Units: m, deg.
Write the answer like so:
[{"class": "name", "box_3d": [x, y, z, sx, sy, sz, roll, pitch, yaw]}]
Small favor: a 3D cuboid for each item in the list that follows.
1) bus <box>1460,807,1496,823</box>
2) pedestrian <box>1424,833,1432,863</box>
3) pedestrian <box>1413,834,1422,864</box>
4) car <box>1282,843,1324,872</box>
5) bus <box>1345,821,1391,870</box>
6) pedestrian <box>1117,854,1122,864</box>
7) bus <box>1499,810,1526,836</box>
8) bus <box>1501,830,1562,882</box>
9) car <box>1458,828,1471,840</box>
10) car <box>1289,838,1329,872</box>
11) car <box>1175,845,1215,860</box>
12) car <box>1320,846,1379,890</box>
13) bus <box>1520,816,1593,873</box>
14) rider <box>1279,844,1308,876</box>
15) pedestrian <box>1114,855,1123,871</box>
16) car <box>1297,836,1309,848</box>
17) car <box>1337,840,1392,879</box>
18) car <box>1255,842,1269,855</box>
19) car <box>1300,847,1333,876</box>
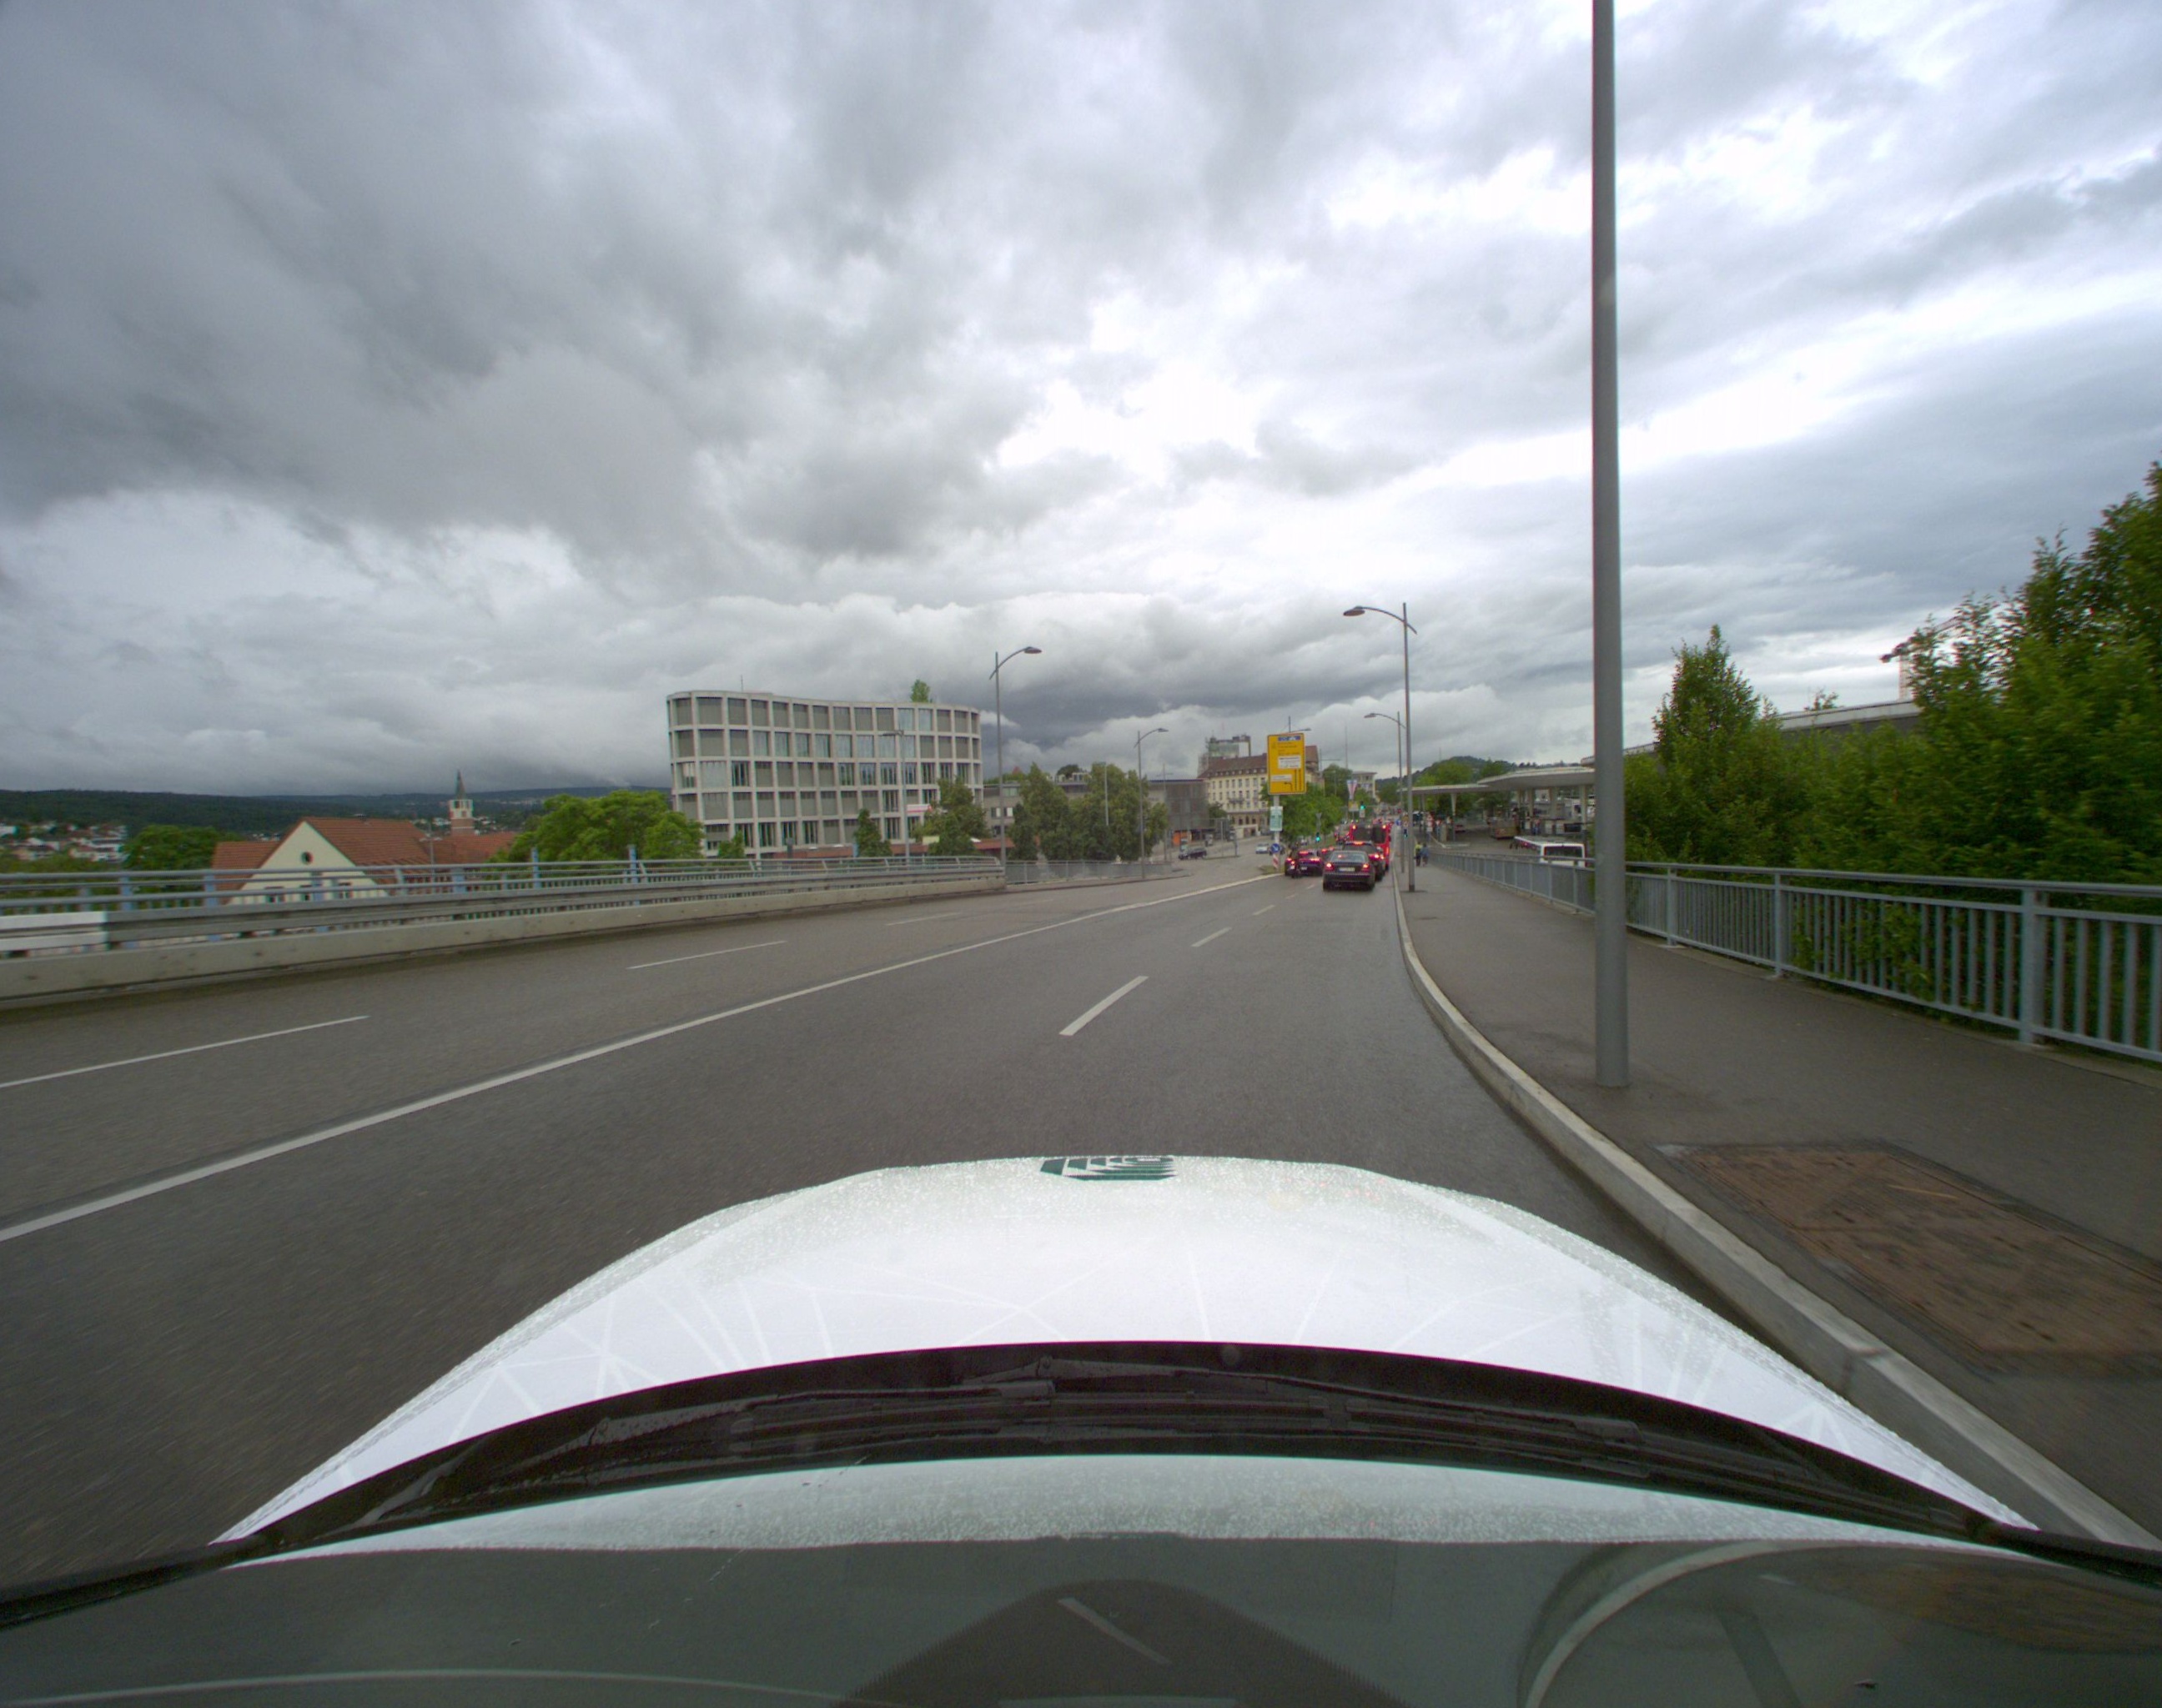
[{"class": "bus", "box_3d": [94.363, -9.281, 193.728, 7.141, 3.396, 3.096, -2, 2, 17]}, {"class": "pedestrian", "box_3d": [23.682, -0.398, 55.587, 0.420, 2.014, 0.486, -2, -2, 23]}, {"class": "pedestrian", "box_3d": [23.051, -0.343, 55.813, 0.485, 2.014, 0.472, -2, -2, 23]}, {"class": "car", "box_3d": [11.899, 0.137, 43.535, 1.745, 1.436, 4.021, 0, 1, 21]}, {"class": "bus", "box_3d": [20.535, -0.642, 57.967, 2.803, 3.189, 10.362, 0, 1, 21]}, {"class": "pedestrian", "box_3d": [3.609, 0.480, 76.383, 0.298, 0.873, 0.300, -2, 2, 24]}, {"class": "bus", "box_3d": [63.846, -4.470, 120.624, 3.149, 3.600, 10.572, -1, 1, 26]}, {"class": "bus", "box_3d": [33.483, 0.066, 60.739, 2.625, 3.235, 7.107, -2, 4, 18]}, {"class": "car", "box_3d": [68.799, -3.638, 146.174, 1.975, 2.013, 4.024, -1, 1, 27]}, {"class": "car", "box_3d": [14.347, 0.022, 51.059, 1.976, 2.006, 4.022, 0, 1, 22]}, {"class": "car", "box_3d": [17.046, -0.286, 121.463, 5.637, 2.013, 1.984, -3, 1, -24]}, {"class": "car", "box_3d": [9.744, 0.451, 29.430, 1.691, 1.419, 3.746, 1, 1, 23]}, {"class": "bus", "box_3d": [31.267, -0.759, 53.829, 2.625, 3.235, 7.107, 1, 5, 18]}, {"class": "rider", "box_3d": [10.420, 0.280, 39.883, 0.873, 1.471, 2.209, 1, 1, 27]}, {"class": "pedestrian", "box_3d": [3.504, 0.846, 76.402, 0.642, 1.408, 0.534, -2, 2, 24]}, {"class": "car", "box_3d": [39.936, -2.166, 146.323, 1.979, 2.014, 4.218, -1, -1, 14]}, {"class": "car", "box_3d": [13.220, 0.212, 37.871, 1.810, 1.687, 4.024, 1, 1, 28]}, {"class": "car", "box_3d": [27.979, -0.865, 125.634, 1.979, 2.013, 4.015, -2, 0, 14]}, {"class": "car", "box_3d": [16.849, 0.492, 58.120, 1.977, 2.006, 4.021, 0, 1, 20]}]
